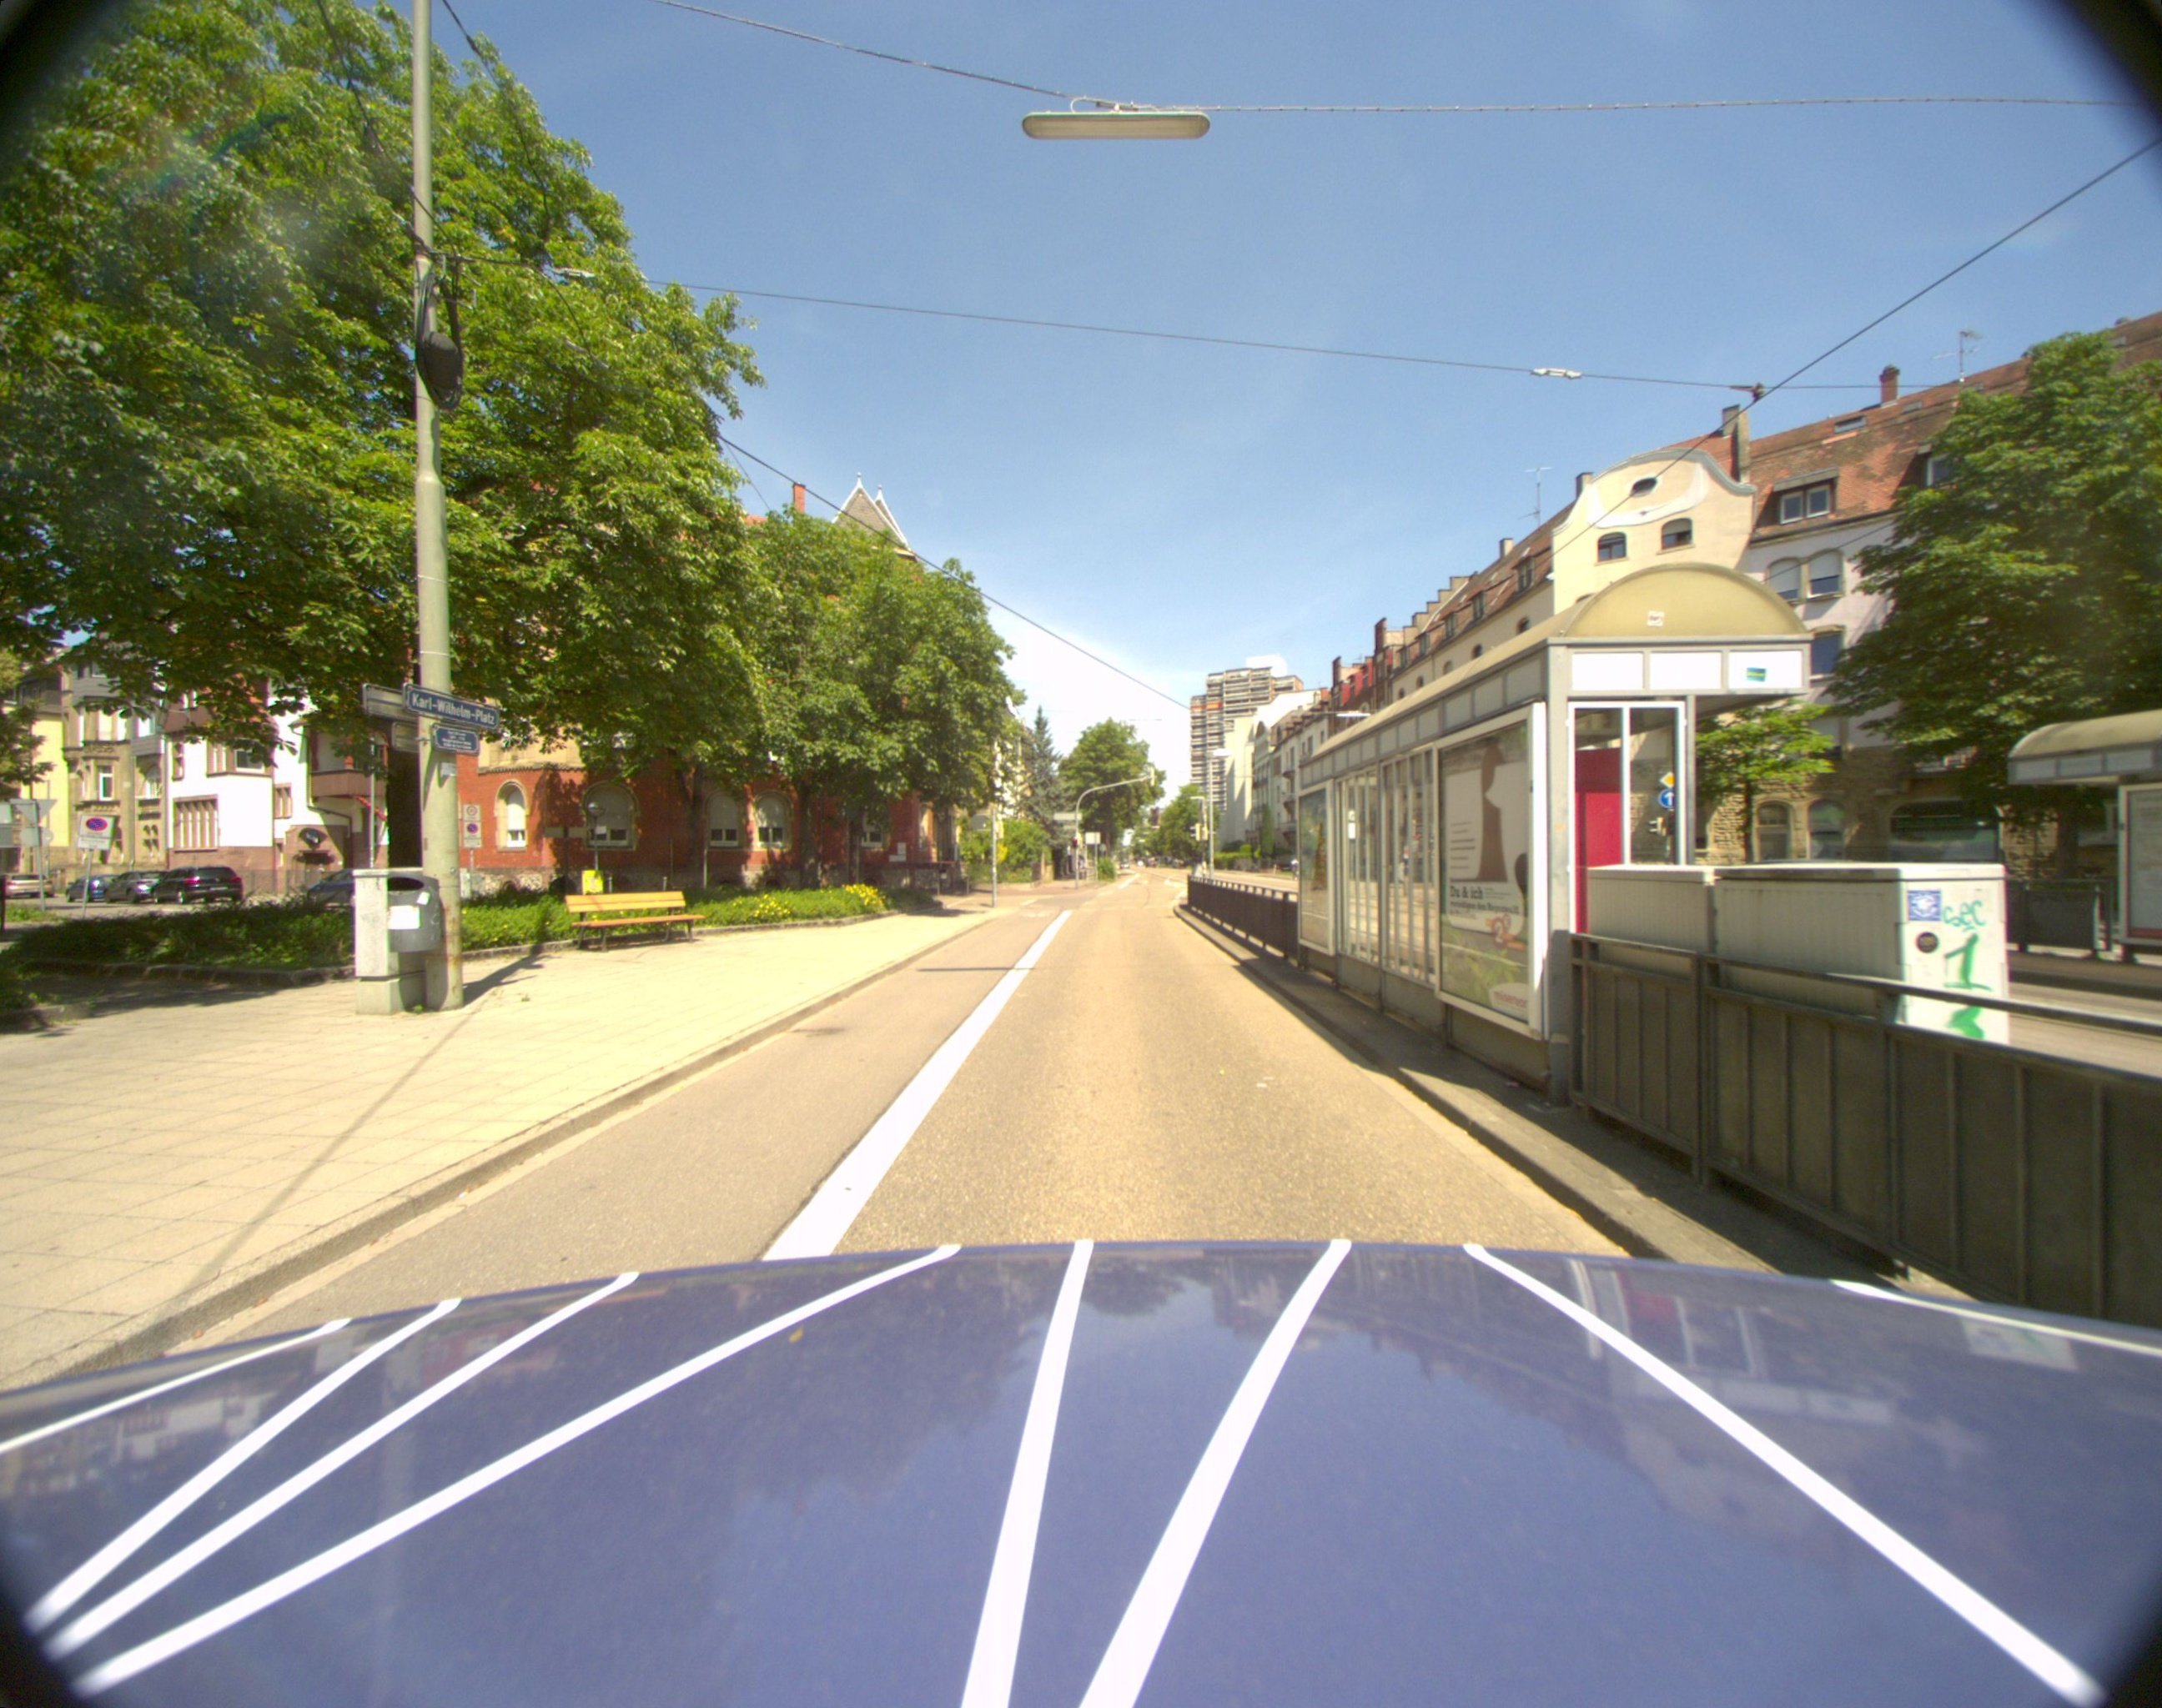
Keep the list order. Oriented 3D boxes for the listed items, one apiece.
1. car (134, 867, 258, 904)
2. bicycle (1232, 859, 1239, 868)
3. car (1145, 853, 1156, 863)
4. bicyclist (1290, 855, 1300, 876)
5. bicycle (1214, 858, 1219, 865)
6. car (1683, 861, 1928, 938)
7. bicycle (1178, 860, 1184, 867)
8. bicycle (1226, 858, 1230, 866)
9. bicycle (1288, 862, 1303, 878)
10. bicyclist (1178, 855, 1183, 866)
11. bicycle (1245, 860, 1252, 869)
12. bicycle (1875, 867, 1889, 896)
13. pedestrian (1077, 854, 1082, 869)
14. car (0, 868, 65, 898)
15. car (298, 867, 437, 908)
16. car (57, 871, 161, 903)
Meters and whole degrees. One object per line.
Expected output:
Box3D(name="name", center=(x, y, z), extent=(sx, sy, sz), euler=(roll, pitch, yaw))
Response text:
Box3D(name="car", center=(-40.013, 1.398, 34.347), extent=(5.477, 1.523, 1.991), euler=(-1, 1, 22))
Box3D(name="bicycle", center=(19.274, 1.199, 94.560), extent=(0.493, 1.090, 2.047), euler=(-1, 0, 1))
Box3D(name="car", center=(14.366, 0.762, 156.969), extent=(1.848, 1.926, 4.823), euler=(1, 0, 2))
Box3D(name="bicyclist", center=(16.484, 0.864, 58.524), extent=(0.609, 1.565, 0.585), euler=(-1, 1, 1))
Box3D(name="bicycle", center=(19.472, 1.076, 109.033), extent=(0.340, 1.062, 1.728), euler=(-1, 1, 1))
Box3D(name="car", center=(14.750, 0.850, 15.780), extent=(1.544, 1.331, 3.718), euler=(-1, 1, 0))
Box3D(name="bicycle", center=(15.360, 1.415, 117.107), extent=(0.645, 1.068, 2.187), euler=(0, 0, 1))
Box3D(name="bicycle", center=(19.319, 1.075, 99.900), extent=(0.290, 1.040, 1.900), euler=(-1, 0, 1))
Box3D(name="bicycle", center=(16.525, 1.243, 58.655), extent=(0.629, 1.150, 1.978), euler=(-1, 0, 1))
Box3D(name="bicyclist", center=(15.362, 1.017, 117.069), extent=(0.611, 1.653, 0.579), euler=(0, 0, 1))
Box3D(name="bicycle", center=(19.017, 1.167, 86.289), extent=(0.463, 0.943, 1.954), euler=(-1, 0, 1))
Box3D(name="bicycle", center=(29.265, 0.993, 27.767), extent=(0.289, 0.968, 1.676), euler=(0, 1, 44))
Box3D(name="pedestrian", center=(-0.182, 0.878, 88.475), extent=(0.547, 1.683, 0.755), euler=(0, 1, 1))
Box3D(name="car", center=(-59.242, 1.611, 42.357), extent=(4.391, 1.547, 1.908), euler=(-1, 1, 21))
Box3D(name="car", center=(-27.102, 1.253, 28.877), extent=(4.748, 1.433, 1.908), euler=(-1, 1, 21))
Box3D(name="car", center=(-48.966, 1.660, 38.283), extent=(4.605, 1.456, 1.908), euler=(-1, 1, 21))
